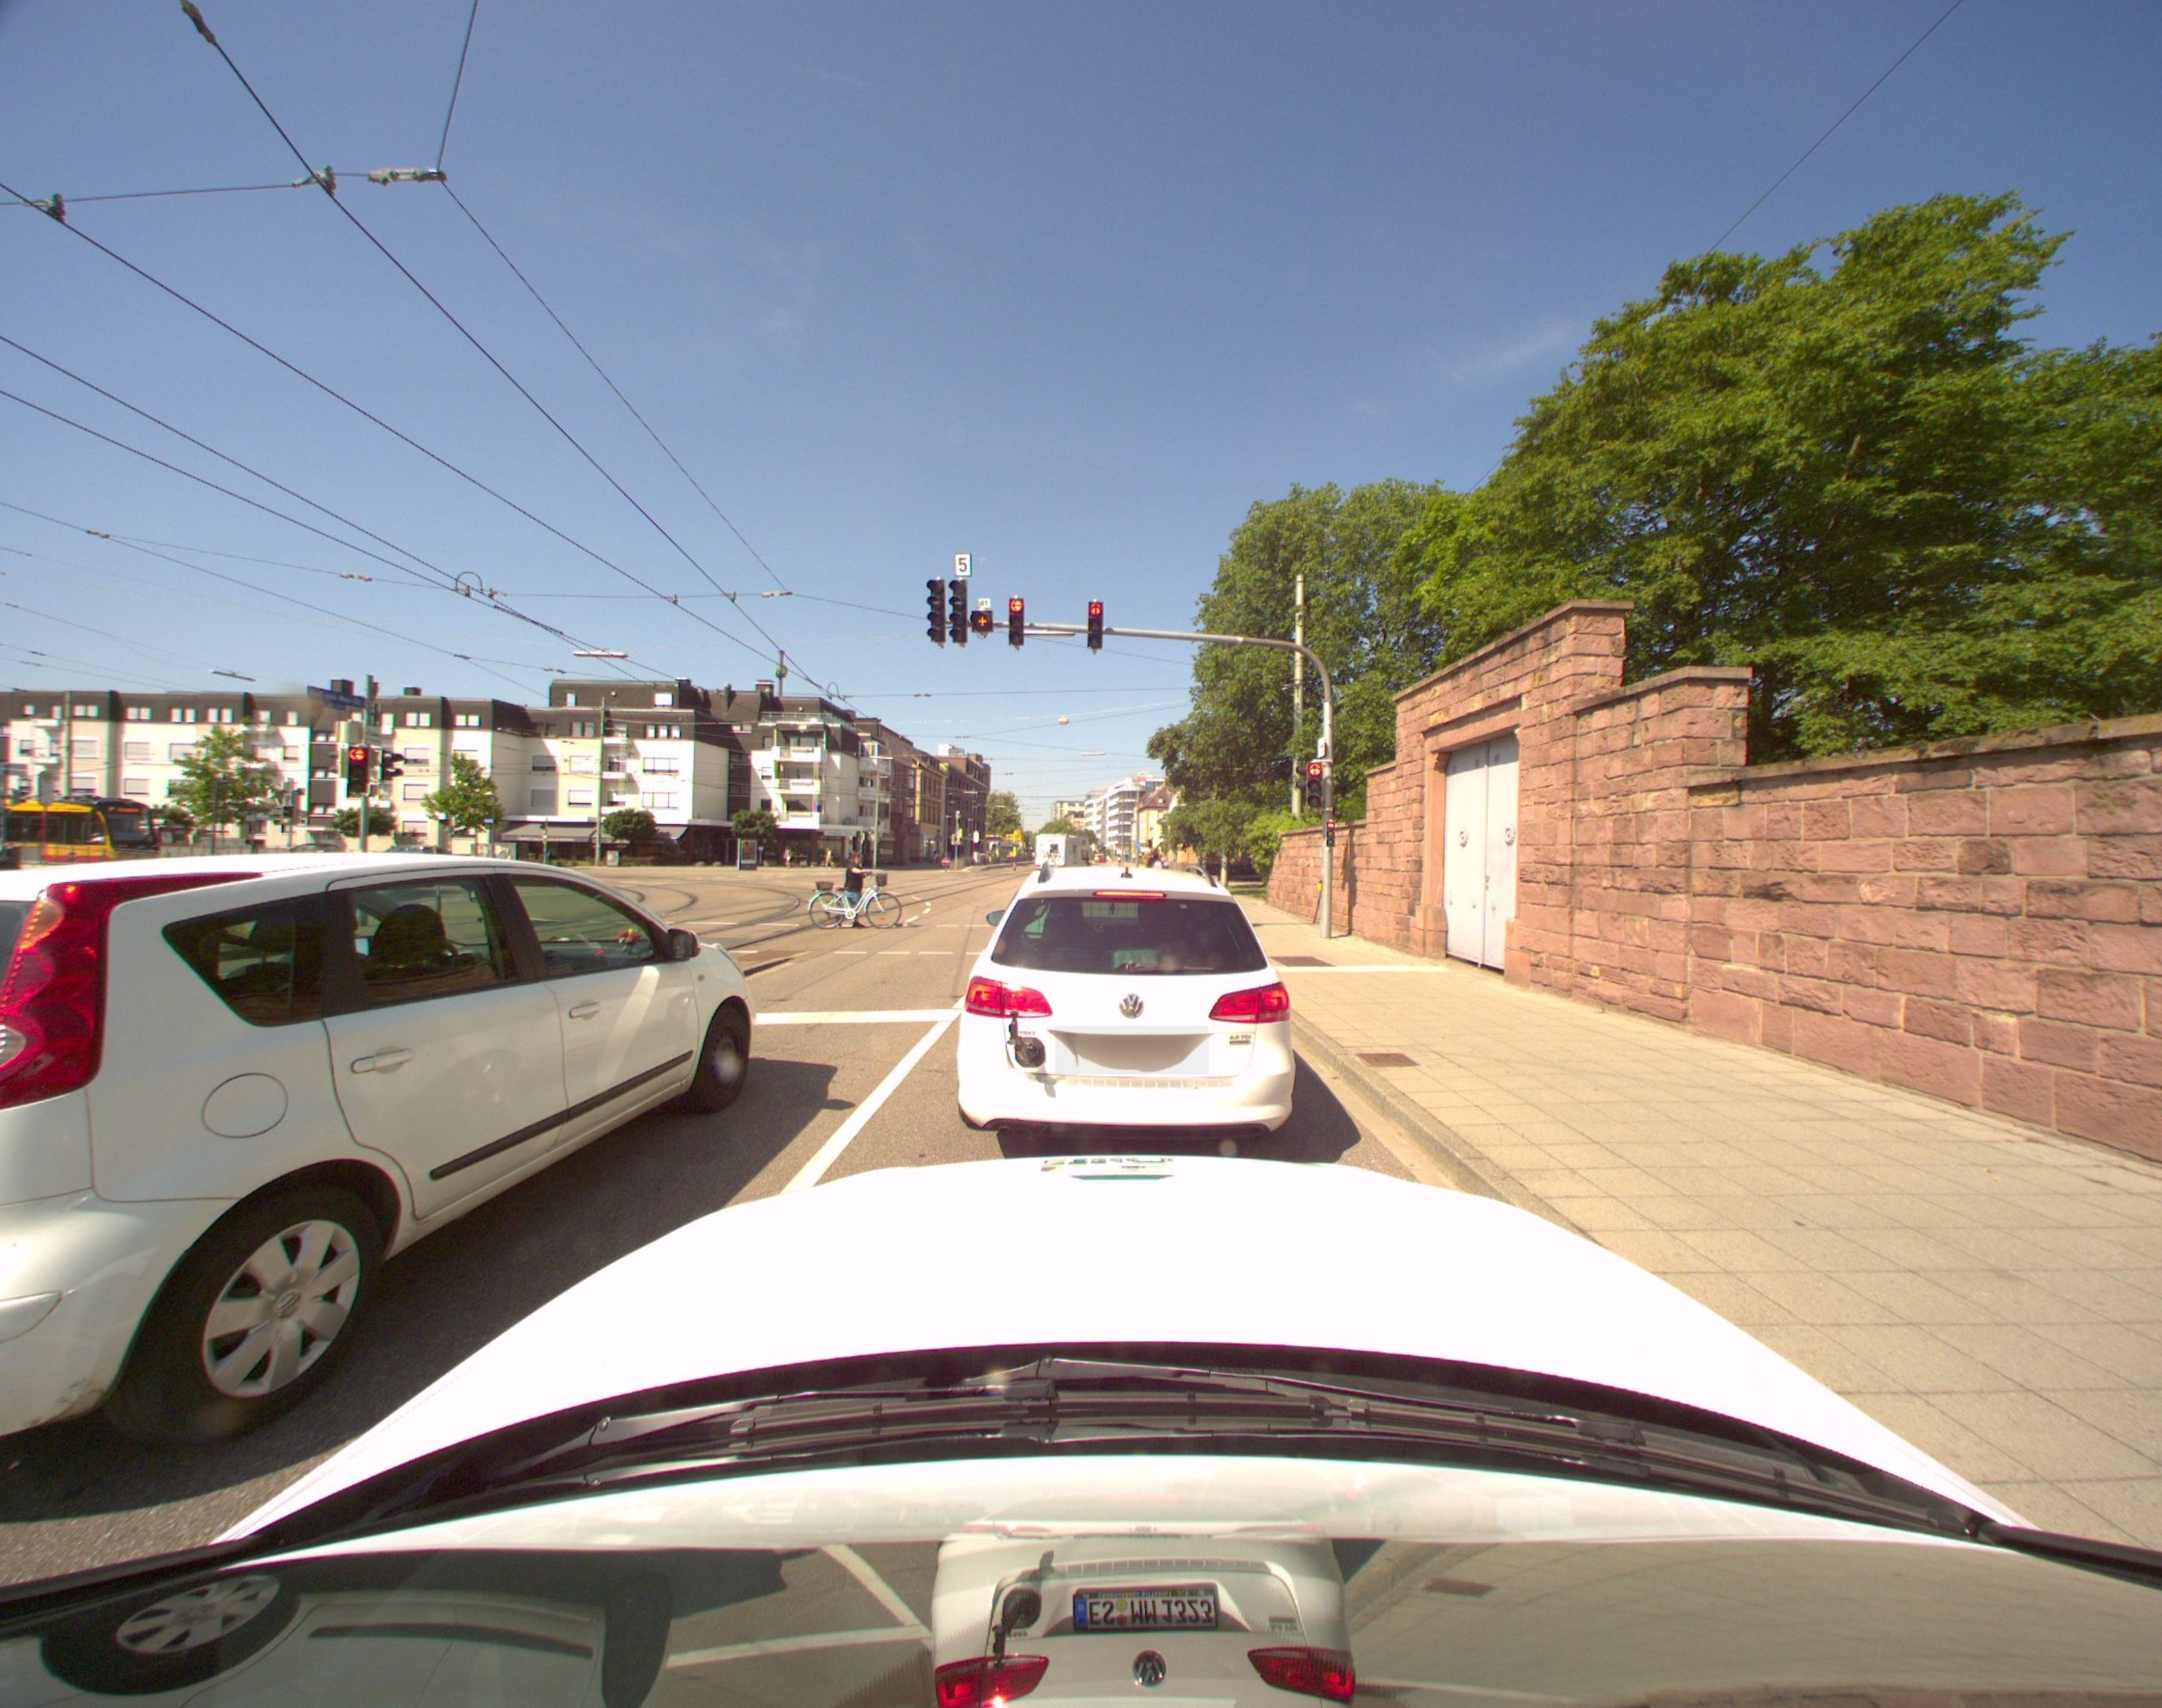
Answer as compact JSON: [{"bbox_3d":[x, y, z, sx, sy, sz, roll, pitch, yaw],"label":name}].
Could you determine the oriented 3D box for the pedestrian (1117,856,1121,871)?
[{"bbox_3d":[5.929,1.545,127.476,0.687,2.325,1.233,-1,-1,3],"label":"pedestrian"}]

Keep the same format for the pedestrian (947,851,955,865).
[{"bbox_3d":[-16.943,0.537,106.309,0.860,1.743,0.973,-1,-1,-4],"label":"pedestrian"}]

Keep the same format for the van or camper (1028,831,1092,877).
[{"bbox_3d":[-1.459,0.044,59.362,2.545,3.093,5.732,-1,-1,21],"label":"van or camper"}]

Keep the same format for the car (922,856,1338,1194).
[{"bbox_3d":[0.269,0.746,5.547,1.801,1.448,4.001,0,0,1],"label":"car"}]

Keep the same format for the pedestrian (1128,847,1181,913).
[{"bbox_3d":[1.887,0.658,20.874,0.943,1.651,0.981,-2,-2,36],"label":"pedestrian"}]

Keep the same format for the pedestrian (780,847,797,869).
[{"bbox_3d":[-23.640,0.330,65.767,0.853,1.743,0.981,-2,-1,28],"label":"pedestrian"}]

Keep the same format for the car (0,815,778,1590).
[{"bbox_3d":[-2.911,0.691,3.552,1.636,1.566,3.805,-1,1,1],"label":"car"}]

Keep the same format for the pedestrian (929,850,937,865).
[{"bbox_3d":[-18.164,0.445,100.234,0.860,1.743,0.973,-1,-1,-4],"label":"pedestrian"}]

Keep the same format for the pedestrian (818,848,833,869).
[{"bbox_3d":[-21.814,0.370,69.567,0.980,1.743,0.854,0,-2,-40],"label":"pedestrian"}]

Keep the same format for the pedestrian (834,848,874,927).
[{"bbox_3d":[-4.653,0.672,16.733,0.746,1.571,0.672,-1,0,-12],"label":"pedestrian"}]

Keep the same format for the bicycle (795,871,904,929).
[{"bbox_3d":[-4.537,0.904,16.125,2.021,1.090,0.707,1,0,-13],"label":"bicycle"}]

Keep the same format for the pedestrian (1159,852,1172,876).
[{"bbox_3d":[6.333,0.772,60.924,0.857,1.743,0.977,-1,-1,8],"label":"pedestrian"}]

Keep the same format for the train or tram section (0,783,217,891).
[{"bbox_3d":[-54.725,-0.688,41.515,16.149,5.150,4.735,-1,-1,0],"label":"train or tram section"}]
